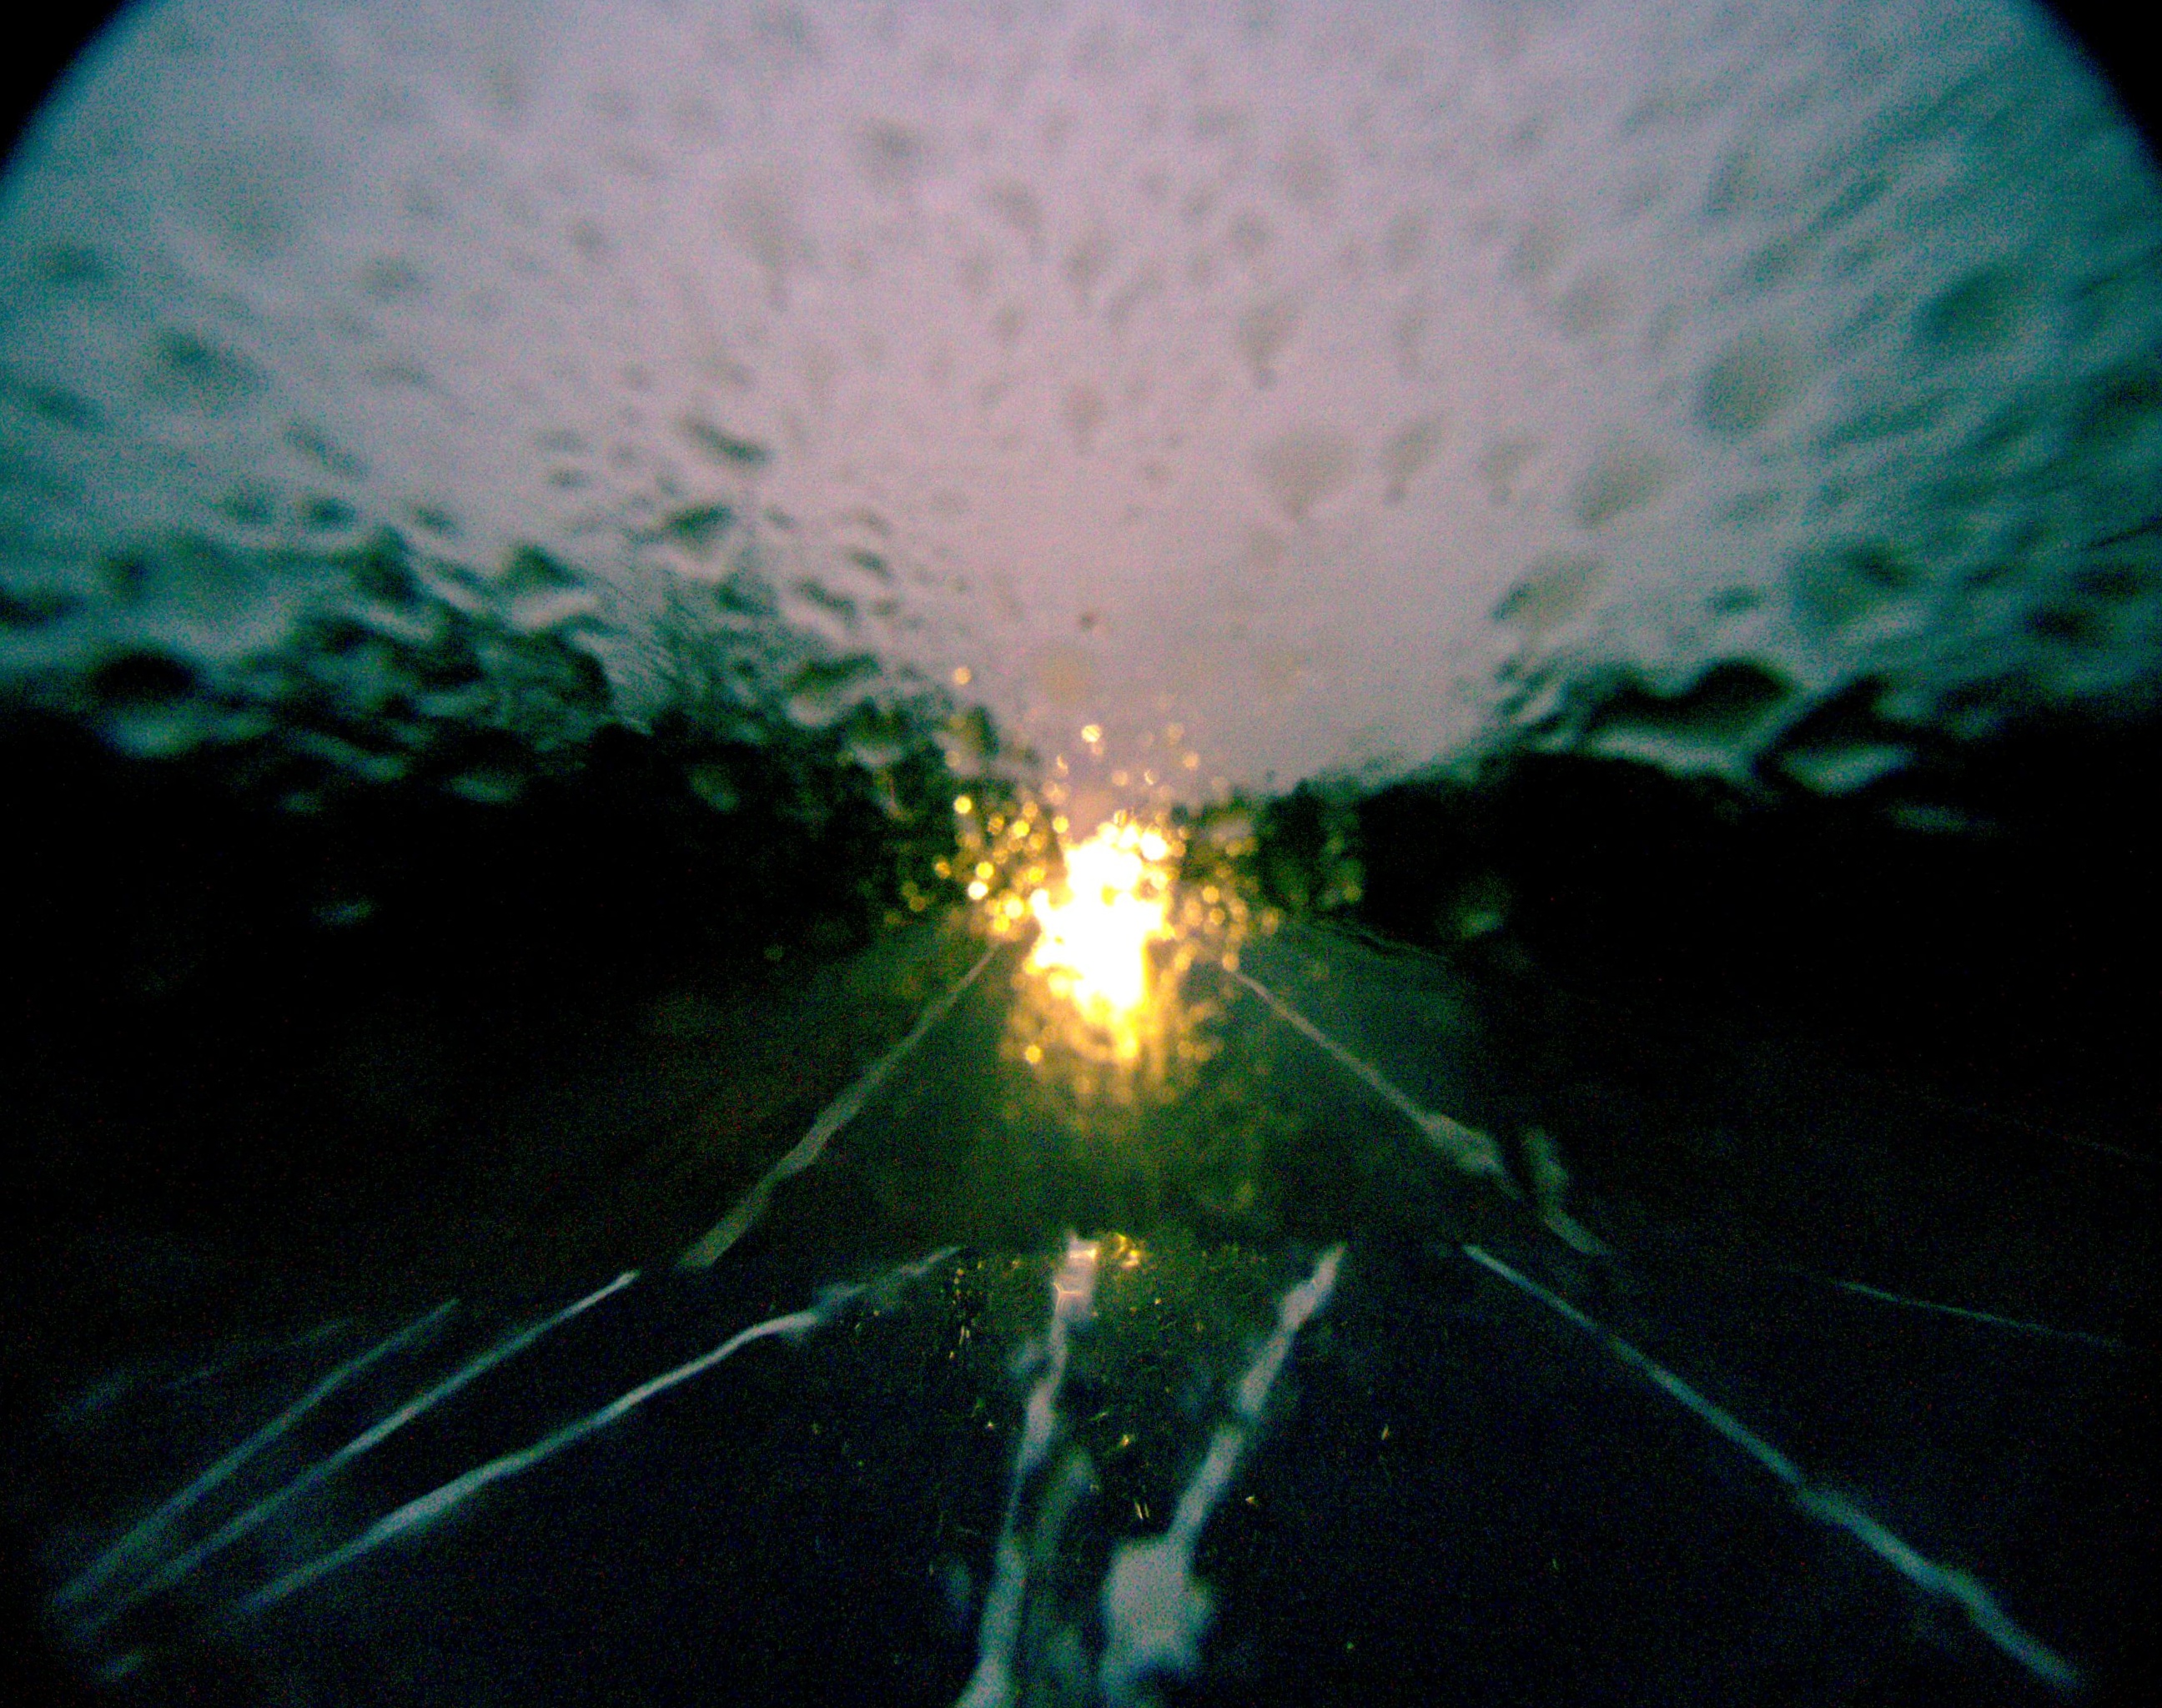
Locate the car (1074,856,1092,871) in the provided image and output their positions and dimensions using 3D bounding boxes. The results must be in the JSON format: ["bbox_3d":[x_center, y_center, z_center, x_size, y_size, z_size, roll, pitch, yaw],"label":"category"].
[{"bbox_3d":[0.254,1.083,91.564,1.998,1.612,4.000,-2,1,1],"label":"car"}]

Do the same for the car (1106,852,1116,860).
[{"bbox_3d":[5.531,0.397,141.393,1.636,1.449,3.982,1,0,0],"label":"car"}]

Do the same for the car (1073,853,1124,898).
[{"bbox_3d":[0.684,0.798,30.226,1.860,1.604,4.000,-1,0,1],"label":"car"}]
